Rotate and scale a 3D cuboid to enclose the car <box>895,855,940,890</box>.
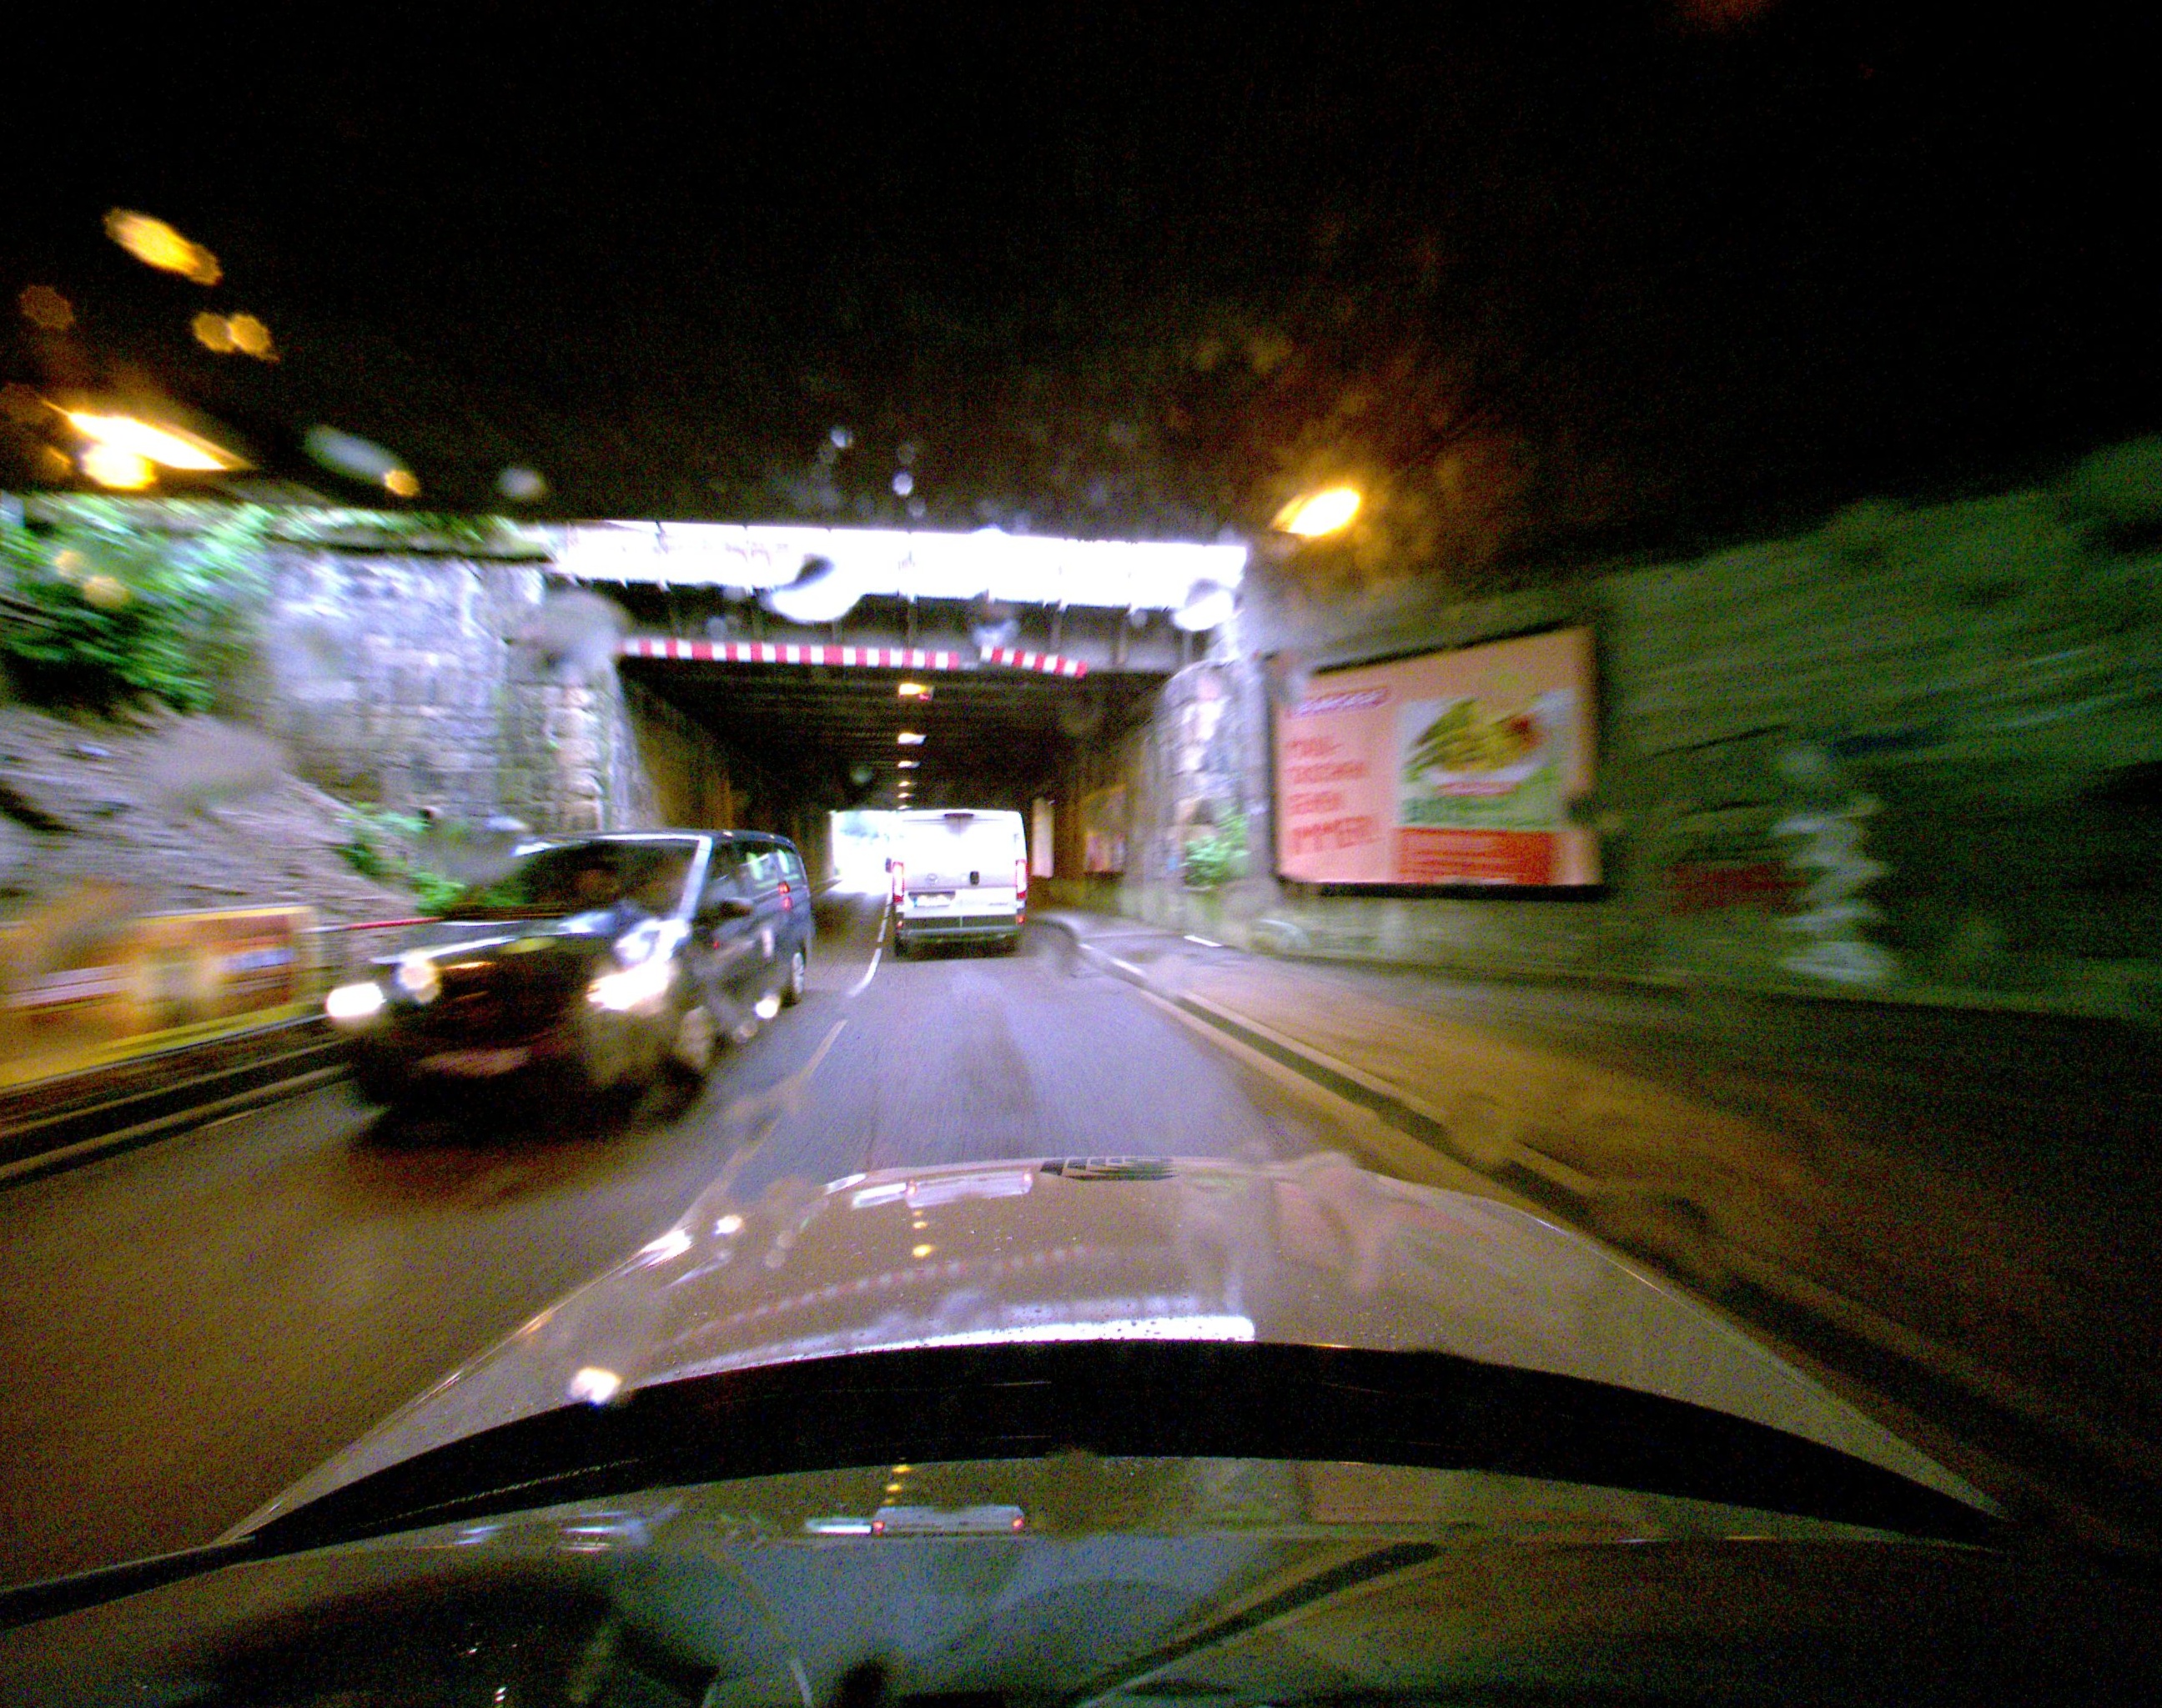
[{"bbox_3d":[-7.429,0.799,37.179,1.837,1.438,4.088,-2,0,-11],"label":"car"}]

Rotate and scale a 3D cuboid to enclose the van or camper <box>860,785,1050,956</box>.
[{"bbox_3d":[-2.282,0.278,14.329,2.700,2.417,4.884,-1,-1,-11],"label":"van or camper"}]

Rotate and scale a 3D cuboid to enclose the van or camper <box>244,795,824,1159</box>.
[{"bbox_3d":[-3.743,0.663,6.990,1.992,1.868,5.125,-2,0,-8],"label":"van or camper"}]
